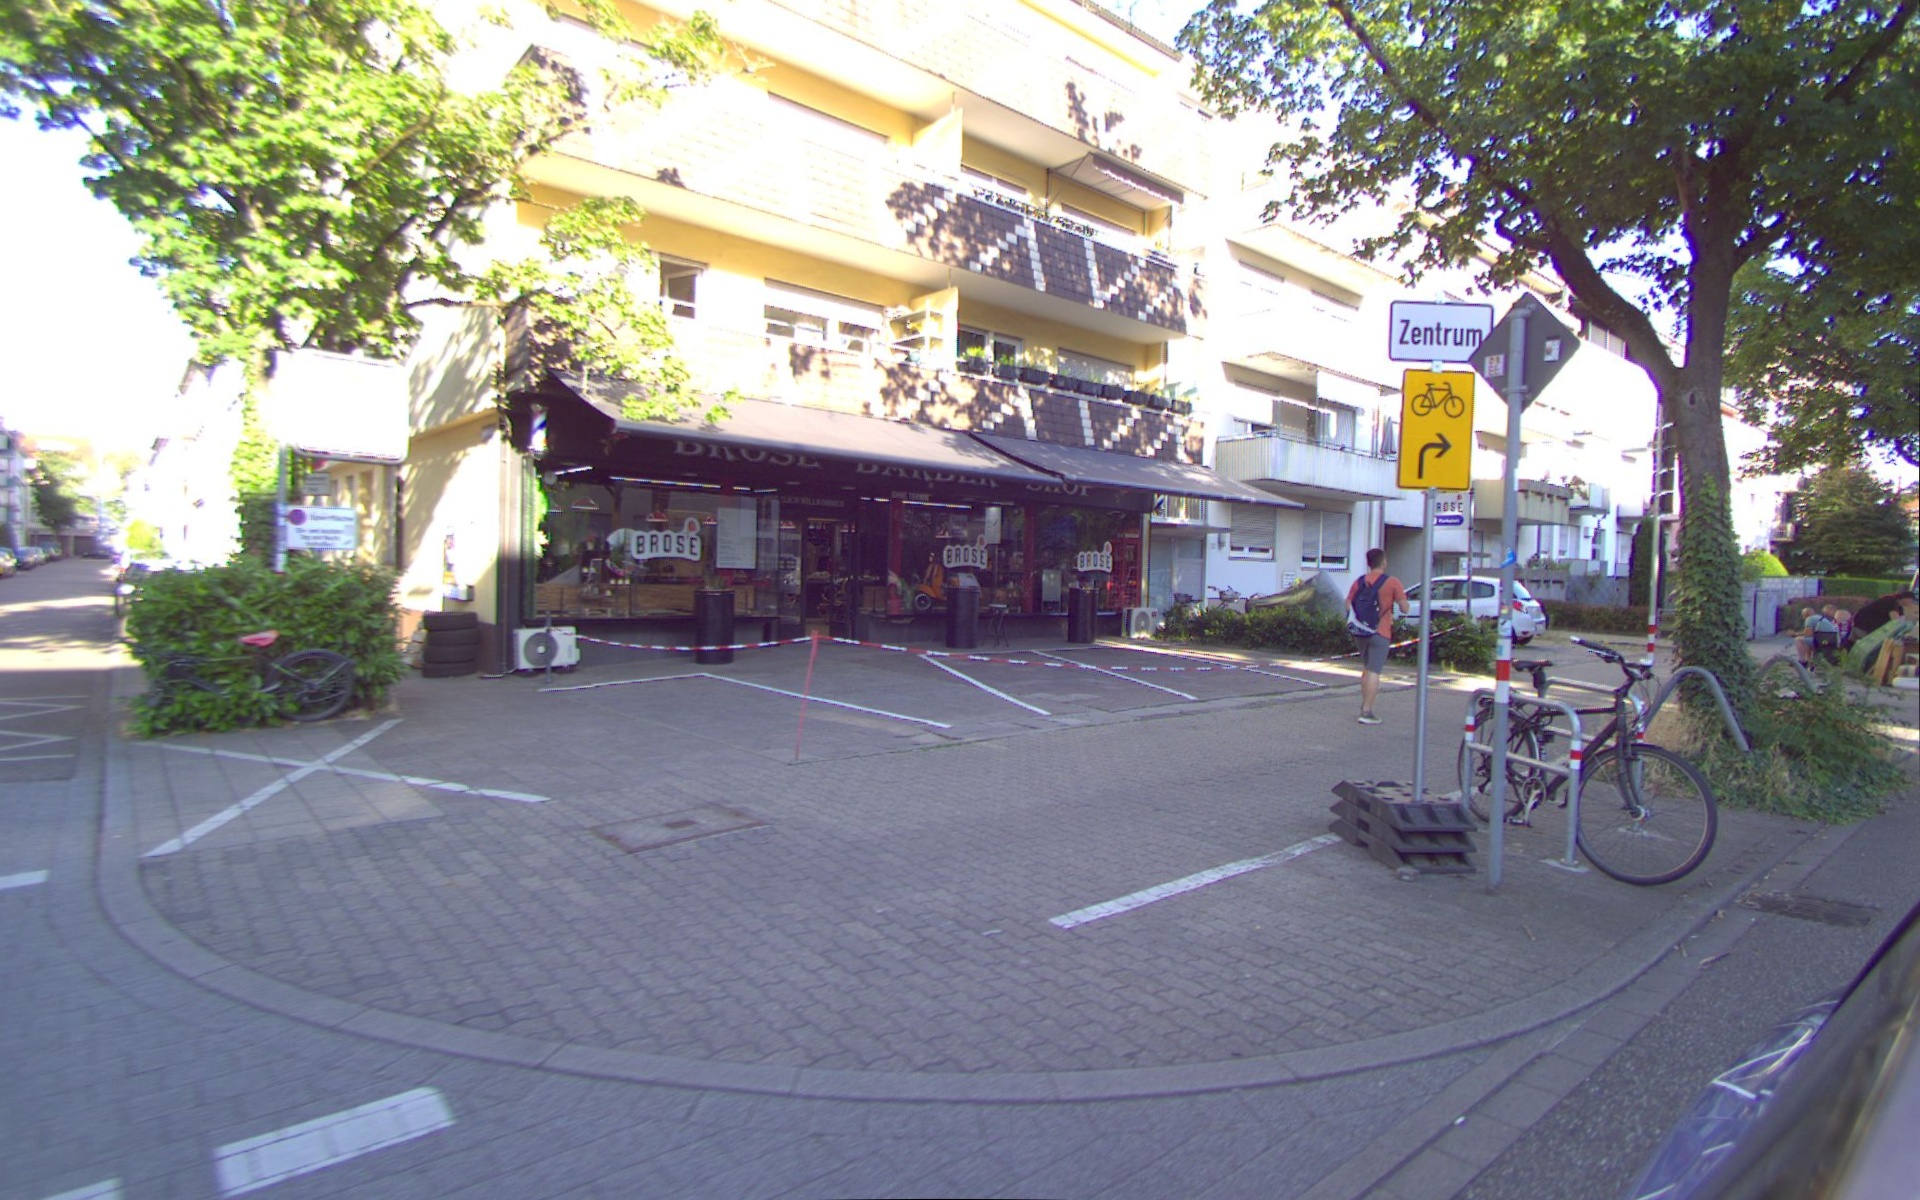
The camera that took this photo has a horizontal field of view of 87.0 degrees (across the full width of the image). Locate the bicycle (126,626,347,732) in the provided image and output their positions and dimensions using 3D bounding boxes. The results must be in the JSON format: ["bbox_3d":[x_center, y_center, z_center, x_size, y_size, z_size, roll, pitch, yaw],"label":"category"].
[{"bbox_3d":[-6.148,0.640,8.651,1.504,0.777,0.486,-1,2,-40],"label":"bicycle"}]

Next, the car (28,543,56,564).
[{"bbox_3d":[-91.878,-4.647,101.332,1.966,2.038,3.994,-1,2,-41],"label":"car"}]

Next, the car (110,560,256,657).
[{"bbox_3d":[-12.878,0.041,16.744,1.708,1.376,3.997,-2,3,-39],"label":"car"}]

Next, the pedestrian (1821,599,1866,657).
[{"bbox_3d":[17.076,0.537,19.553,0.533,1.072,0.553,0,2,-40],"label":"pedestrian"}]

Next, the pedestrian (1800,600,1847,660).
[{"bbox_3d":[16.089,0.544,18.851,0.522,1.072,0.553,0,2,-39],"label":"pedestrian"}]

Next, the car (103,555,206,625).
[{"bbox_3d":[-18.695,-0.297,23.502,1.708,1.472,3.997,-2,3,-39],"label":"car"}]

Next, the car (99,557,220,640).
[{"bbox_3d":[-15.939,-0.117,20.155,1.708,1.472,3.997,-2,3,-39],"label":"car"}]

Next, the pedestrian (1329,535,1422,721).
[{"bbox_3d":[4.167,0.263,10.157,0.552,1.794,0.619,1,1,-40],"label":"pedestrian"}]

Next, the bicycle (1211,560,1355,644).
[{"bbox_3d":[6.051,-0.008,19.092,0.912,1.459,2.457,0,2,-42],"label":"bicycle"}]

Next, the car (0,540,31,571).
[{"bbox_3d":[-63.966,-3.030,68.297,1.733,2.038,3.994,0,2,-41],"label":"car"}]

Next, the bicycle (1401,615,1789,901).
[{"bbox_3d":[3.373,0.750,5.647,0.602,1.176,1.905,1,3,-13],"label":"bicycle"}]

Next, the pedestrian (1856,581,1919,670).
[{"bbox_3d":[15.913,0.414,17.205,0.798,1.462,0.916,0,2,-42],"label":"pedestrian"}]

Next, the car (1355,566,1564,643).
[{"bbox_3d":[11.048,0.040,22.554,1.550,1.523,3.869,-1,3,-45],"label":"car"}]
